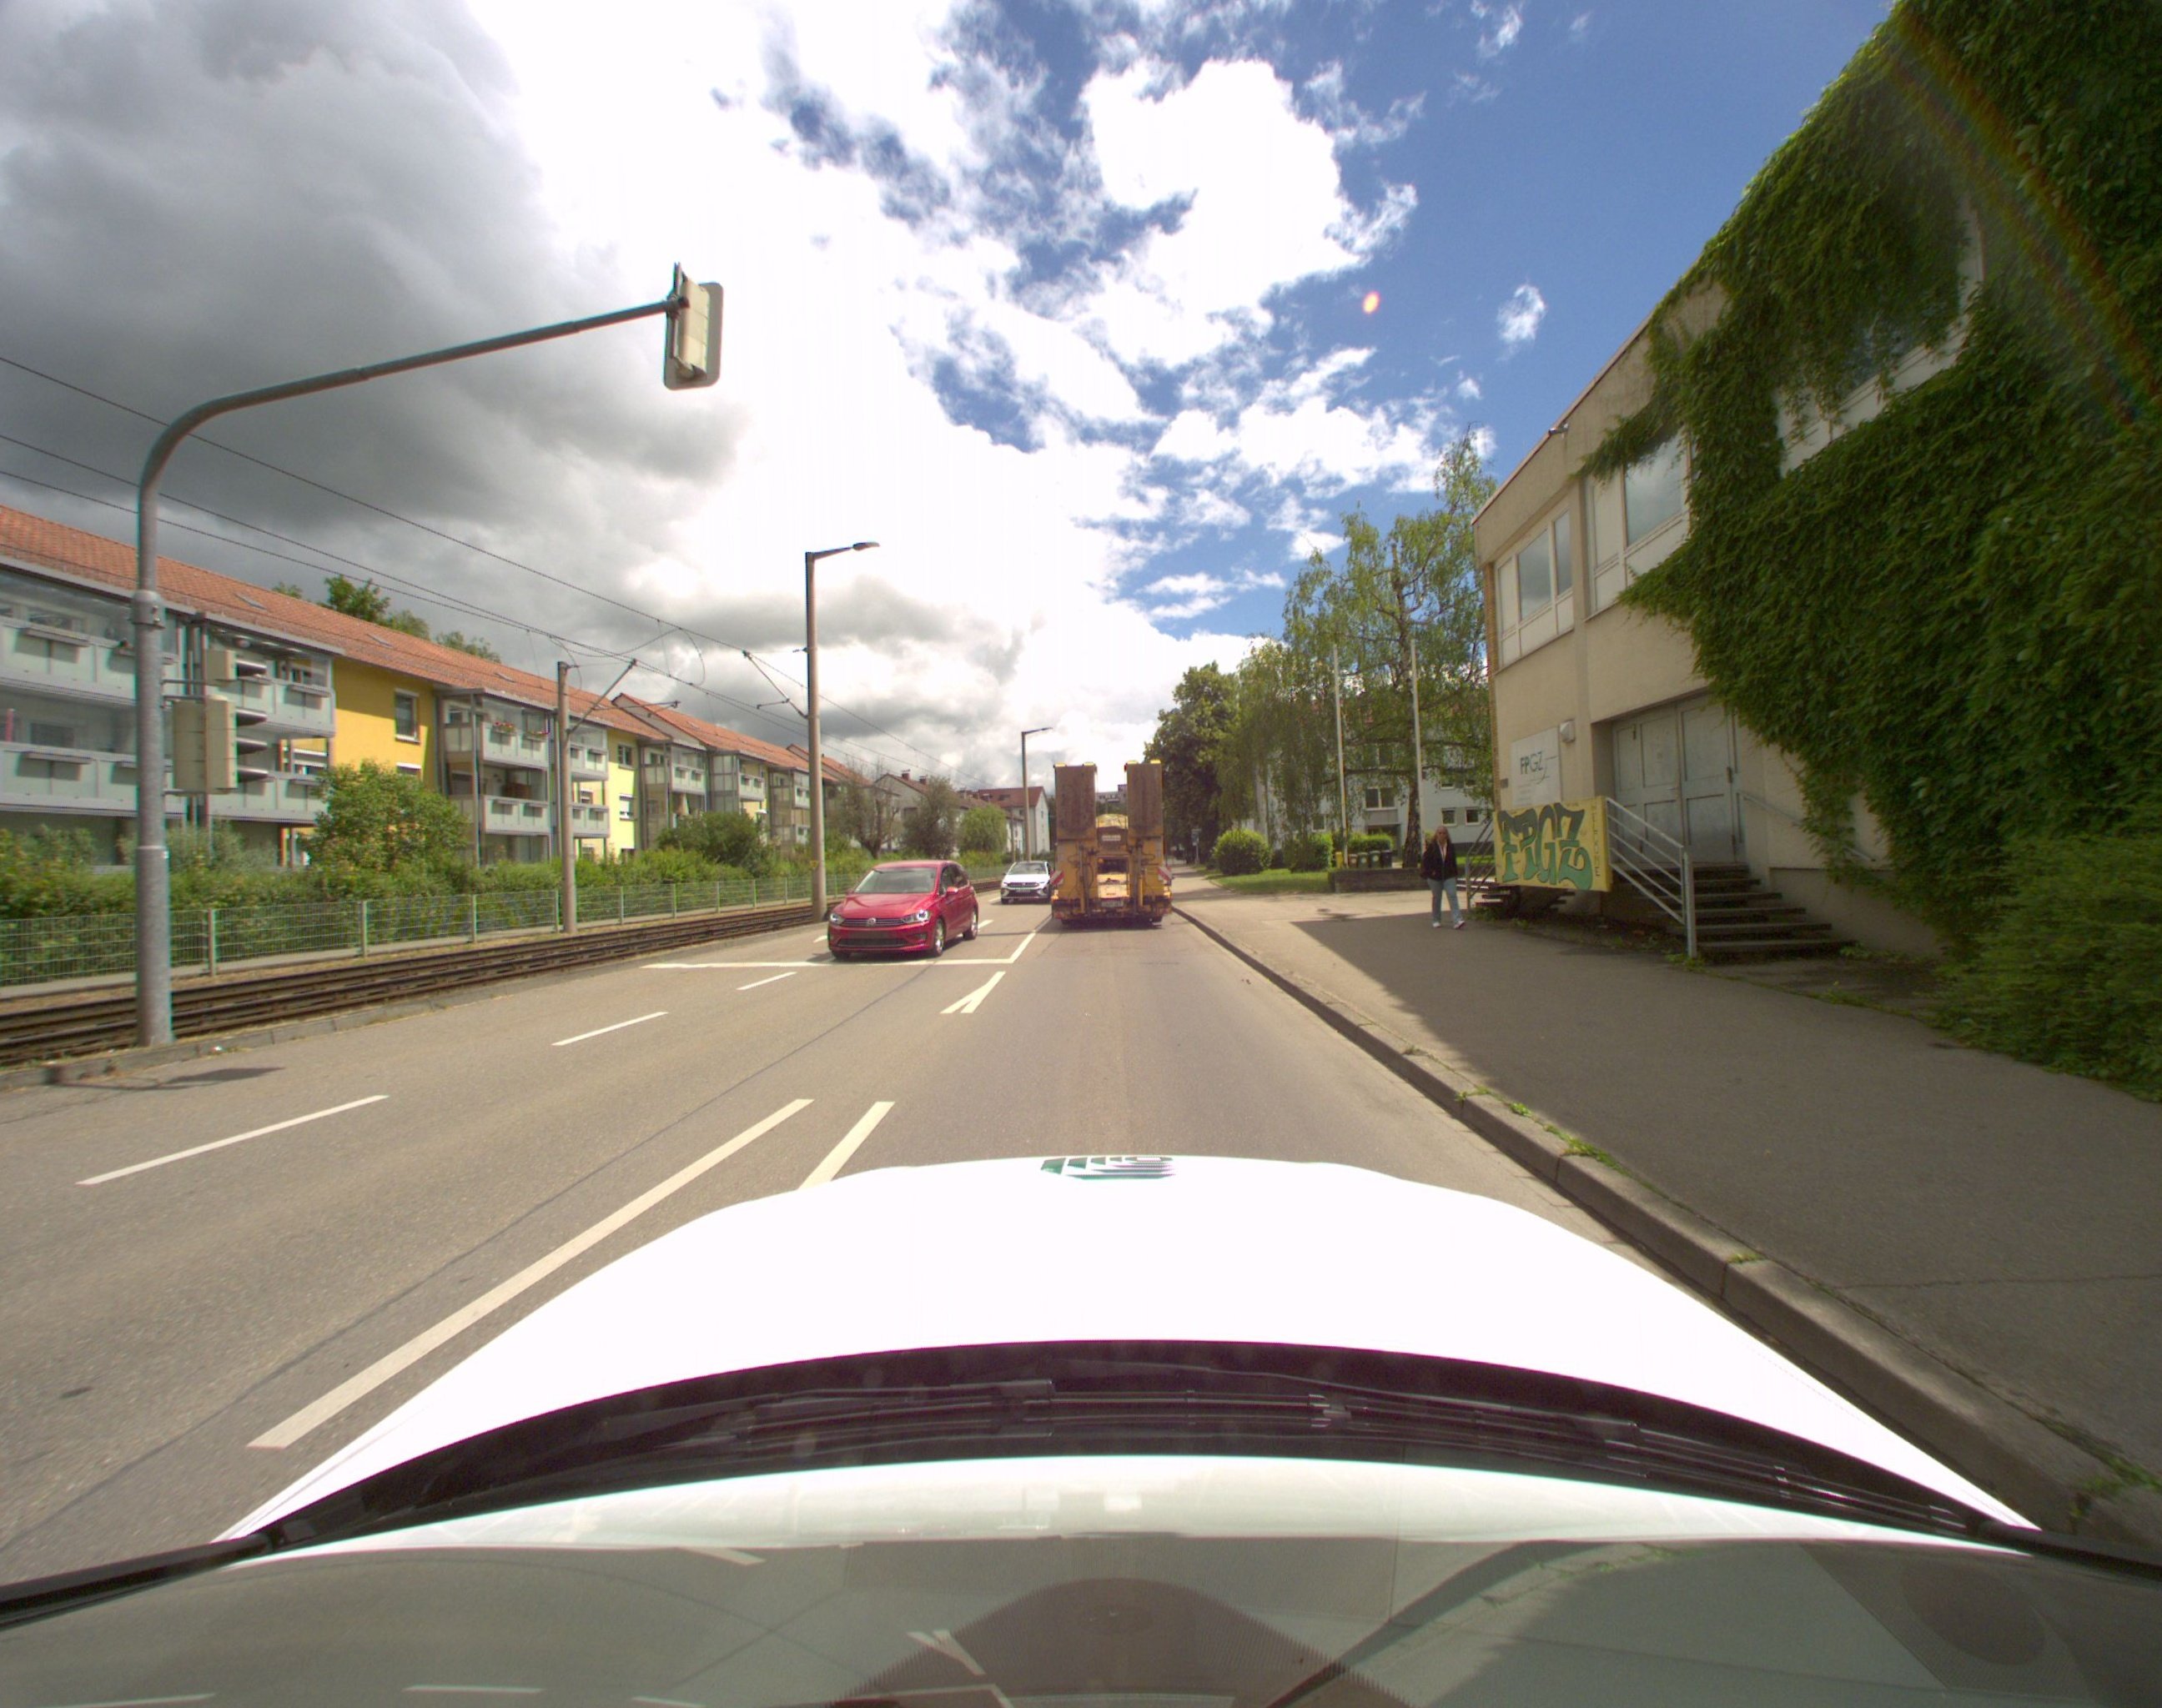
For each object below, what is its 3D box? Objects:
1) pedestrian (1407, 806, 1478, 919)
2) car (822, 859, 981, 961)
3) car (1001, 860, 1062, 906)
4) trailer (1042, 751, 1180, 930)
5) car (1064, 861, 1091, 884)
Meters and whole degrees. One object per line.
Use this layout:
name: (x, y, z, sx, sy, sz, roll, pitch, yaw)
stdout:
pedestrian: (5.945, 0.138, 13.438, 0.804, 1.771, 0.819, -3, -1, 11)
car: (-2.986, 0.872, 14.410, 1.656, 1.552, 4.004, -1, -1, 4)
car: (-1.752, 1.021, 30.053, 1.753, 1.552, 4.003, -1, -1, 3)
trailer: (0.780, -0.226, 22.984, 2.817, 3.646, 12.357, -1, -1, 1)
car: (-0.197, 1.233, 55.831, 1.622, 1.432, 4.170, -1, 0, 3)
